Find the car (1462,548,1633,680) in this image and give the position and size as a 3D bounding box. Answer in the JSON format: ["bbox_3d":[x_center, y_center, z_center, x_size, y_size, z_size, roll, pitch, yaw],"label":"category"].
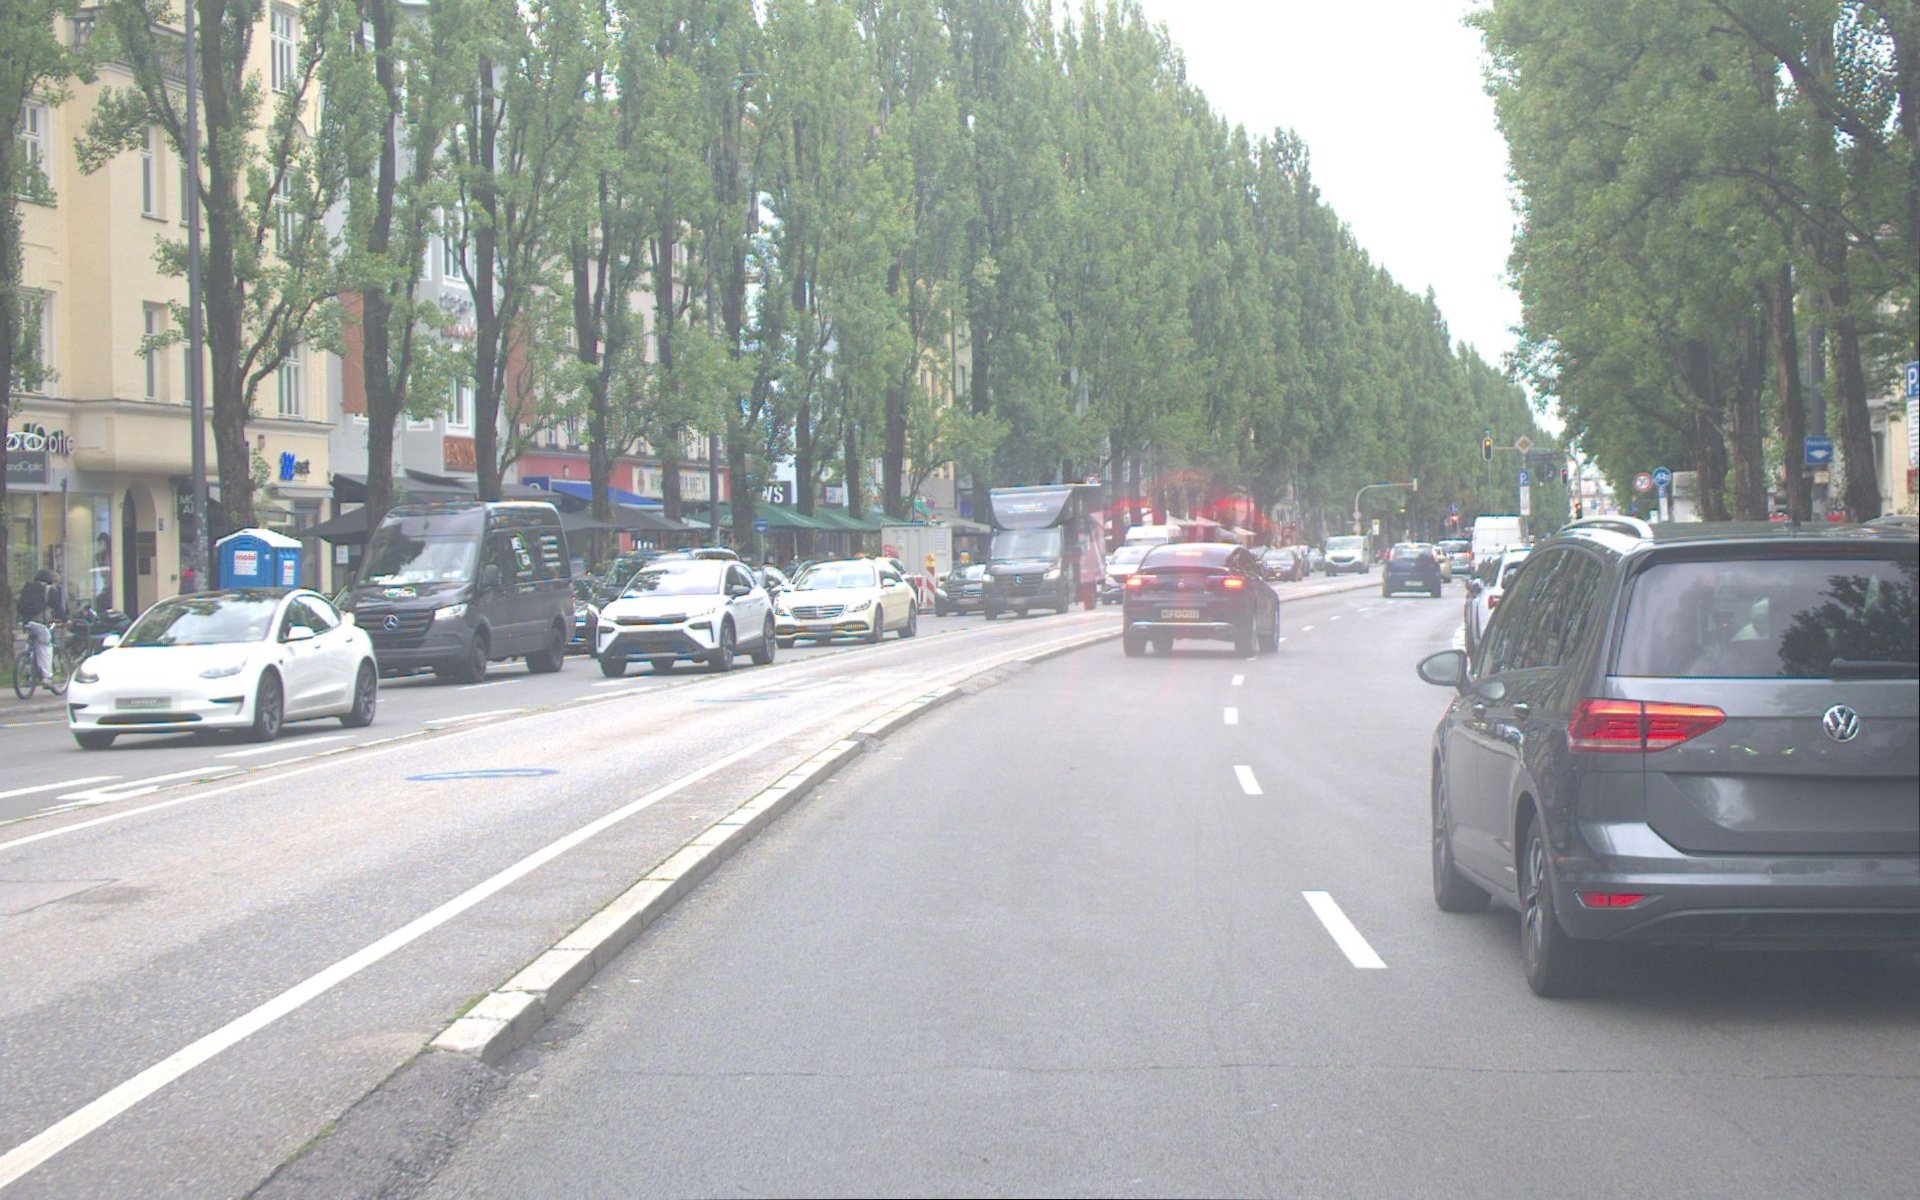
[{"bbox_3d":[7.260,0.130,42.852,1.811,1.495,4.805,-2,1,7],"label":"car"}]

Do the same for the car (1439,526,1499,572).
[{"bbox_3d":[19.922,-2.008,134.380,1.994,1.711,3.998,-2,1,13],"label":"car"}]

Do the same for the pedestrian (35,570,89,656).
[{"bbox_3d":[-16.565,0.243,63.424,0.634,1.556,0.815,-1,1,12],"label":"pedestrian"}]

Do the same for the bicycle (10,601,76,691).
[{"bbox_3d":[-12.676,0.629,47.541,0.368,1.197,1.153,-1,1,12],"label":"bicycle"}]

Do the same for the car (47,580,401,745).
[{"bbox_3d":[-7.010,0.549,33.284,1.800,1.389,4.689,-1,1,8],"label":"car"}]

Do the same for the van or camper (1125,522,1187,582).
[{"bbox_3d":[8.168,-2.006,142.851,1.994,2.450,4.249,-1,1,11],"label":"van or camper"}]

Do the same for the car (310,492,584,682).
[{"bbox_3d":[-7.469,-0.230,50.834,2.171,2.596,6.062,-1,1,10],"label":"car"}]

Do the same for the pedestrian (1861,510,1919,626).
[{"bbox_3d":[15.347,-0.534,56.584,0.817,1.863,0.938,-2,1,7],"label":"pedestrian"}]

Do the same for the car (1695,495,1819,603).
[{"bbox_3d":[18.064,-1.167,77.753,1.903,2.320,4.819,-2,1,23],"label":"car"}]

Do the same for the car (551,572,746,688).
[{"bbox_3d":[-5.545,0.498,62.012,1.994,1.857,5.709,-3,1,10],"label":"car"}]

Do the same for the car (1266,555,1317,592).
[{"bbox_3d":[13.325,-1.070,137.957,1.712,1.409,3.721,-1,1,10],"label":"car"}]

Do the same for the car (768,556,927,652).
[{"bbox_3d":[-2.015,0.040,63.430,1.994,1.583,5.194,-3,1,8],"label":"car"}]

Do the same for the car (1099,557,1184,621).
[{"bbox_3d":[5.327,-0.339,100.378,1.861,1.705,4.534,-2,1,11],"label":"car"}]

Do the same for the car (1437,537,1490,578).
[{"bbox_3d":[22.376,-1.898,152.717,1.994,1.711,3.998,-2,1,13],"label":"car"}]

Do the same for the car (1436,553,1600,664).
[{"bbox_3d":[7.877,0.087,48.891,1.931,1.445,4.803,-1,1,5],"label":"car"}]

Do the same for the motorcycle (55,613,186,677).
[{"bbox_3d":[-13.761,0.740,56.405,2.055,1.033,0.486,0,0,-9],"label":"motorcycle"}]

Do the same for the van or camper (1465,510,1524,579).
[{"bbox_3d":[20.033,-2.051,128.808,2.035,2.467,3.998,-1,-1,11],"label":"van or camper"}]

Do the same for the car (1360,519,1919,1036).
[{"bbox_3d":[2.696,0.524,12.842,1.761,1.608,4.184,0,1,-2],"label":"car"}]

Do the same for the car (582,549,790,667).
[{"bbox_3d":[-3.961,0.085,50.481,1.910,1.597,4.353,-1,1,11],"label":"car"}]

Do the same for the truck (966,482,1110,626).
[{"bbox_3d":[1.983,-1.146,84.230,2.292,3.311,7.154,-2,1,10],"label":"truck"}]

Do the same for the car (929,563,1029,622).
[{"bbox_3d":[0.532,-0.210,90.558,1.940,1.429,4.537,-2,1,9],"label":"car"}]

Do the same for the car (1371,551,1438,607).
[{"bbox_3d":[13.231,-0.621,102.119,1.760,1.614,3.745,0,0,11],"label":"car"}]

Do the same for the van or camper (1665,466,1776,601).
[{"bbox_3d":[18.360,-1.614,83.199,2.461,3.101,4.713,-2,1,12],"label":"van or camper"}]

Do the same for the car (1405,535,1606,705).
[{"bbox_3d":[5.757,0.192,36.745,1.925,1.694,4.649,0,0,7],"label":"car"}]

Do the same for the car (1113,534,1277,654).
[{"bbox_3d":[3.473,-0.124,50.048,1.881,1.636,4.581,-1,1,10],"label":"car"}]

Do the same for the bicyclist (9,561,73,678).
[{"bbox_3d":[-12.695,0.264,47.512,0.502,1.587,0.834,-1,1,11],"label":"bicyclist"}]

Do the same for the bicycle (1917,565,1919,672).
[{"bbox_3d":[11.453,0.191,38.163,1.478,1.203,0.536,-2,1,3],"label":"bicycle"}]

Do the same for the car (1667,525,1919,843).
[{"bbox_3d":[5.445,0.414,20.346,1.727,1.680,4.408,0,1,2],"label":"car"}]

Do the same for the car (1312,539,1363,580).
[{"bbox_3d":[18.712,-1.989,170.486,1.993,2.007,4.000,0,0,-2],"label":"car"}]

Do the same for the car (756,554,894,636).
[{"bbox_3d":[-2.905,-0.139,75.157,1.994,1.645,4.634,-2,1,10],"label":"car"}]

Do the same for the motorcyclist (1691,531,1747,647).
[{"bbox_3d":[9.401,-0.141,42.612,0.564,1.401,0.766,-2,1,7],"label":"motorcyclist"}]

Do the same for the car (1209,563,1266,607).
[{"bbox_3d":[10.198,-0.536,126.234,1.668,1.590,3.998,0,0,11],"label":"car"}]

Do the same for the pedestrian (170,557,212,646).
[{"bbox_3d":[-15.242,0.024,68.163,0.539,1.741,0.755,0,1,11],"label":"pedestrian"}]

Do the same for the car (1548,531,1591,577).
[{"bbox_3d":[26.879,-2.008,151.625,1.805,1.985,3.998,0,0,11],"label":"car"}]

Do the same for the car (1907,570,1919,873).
[{"bbox_3d":[5.398,0.622,14.136,1.771,1.428,4.571,1,1,1],"label":"car"}]
